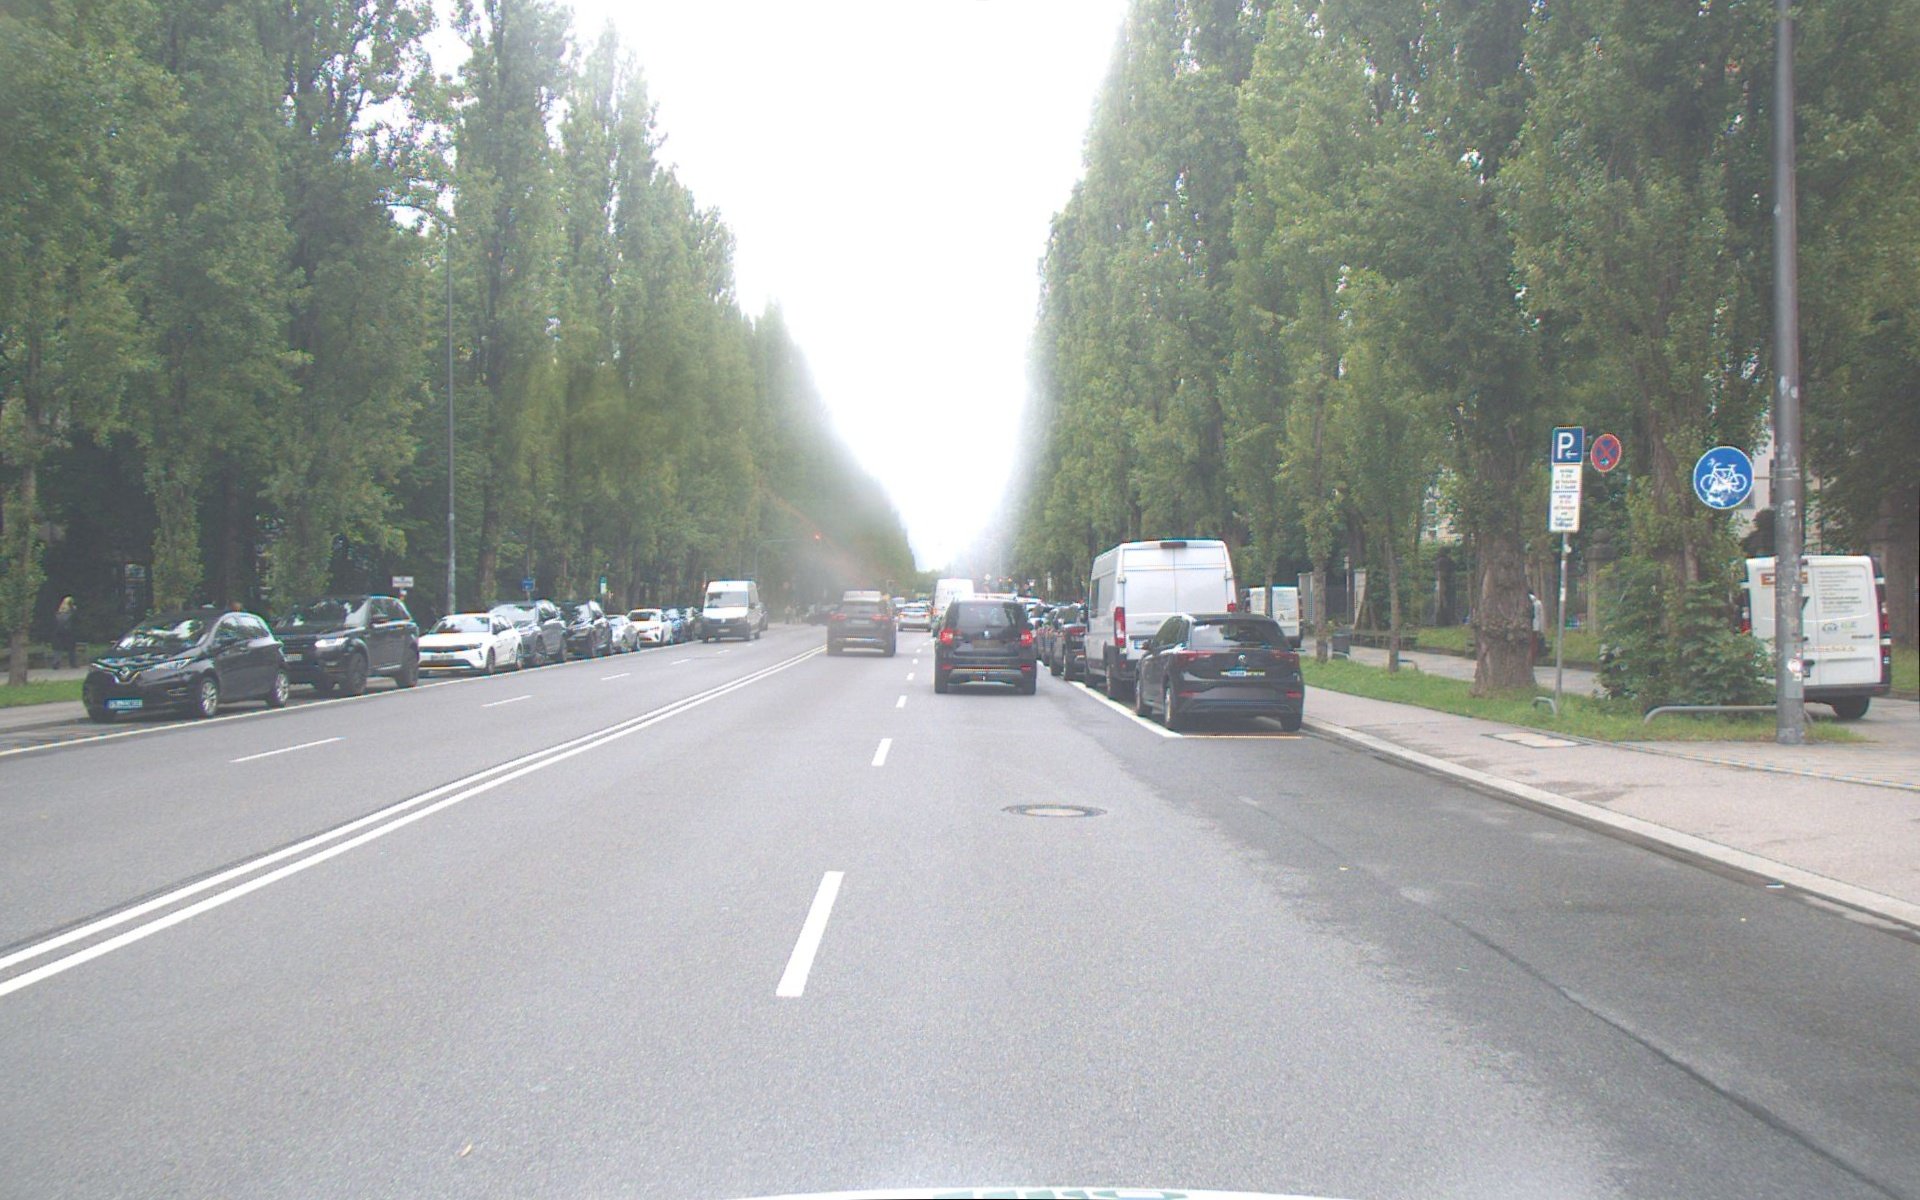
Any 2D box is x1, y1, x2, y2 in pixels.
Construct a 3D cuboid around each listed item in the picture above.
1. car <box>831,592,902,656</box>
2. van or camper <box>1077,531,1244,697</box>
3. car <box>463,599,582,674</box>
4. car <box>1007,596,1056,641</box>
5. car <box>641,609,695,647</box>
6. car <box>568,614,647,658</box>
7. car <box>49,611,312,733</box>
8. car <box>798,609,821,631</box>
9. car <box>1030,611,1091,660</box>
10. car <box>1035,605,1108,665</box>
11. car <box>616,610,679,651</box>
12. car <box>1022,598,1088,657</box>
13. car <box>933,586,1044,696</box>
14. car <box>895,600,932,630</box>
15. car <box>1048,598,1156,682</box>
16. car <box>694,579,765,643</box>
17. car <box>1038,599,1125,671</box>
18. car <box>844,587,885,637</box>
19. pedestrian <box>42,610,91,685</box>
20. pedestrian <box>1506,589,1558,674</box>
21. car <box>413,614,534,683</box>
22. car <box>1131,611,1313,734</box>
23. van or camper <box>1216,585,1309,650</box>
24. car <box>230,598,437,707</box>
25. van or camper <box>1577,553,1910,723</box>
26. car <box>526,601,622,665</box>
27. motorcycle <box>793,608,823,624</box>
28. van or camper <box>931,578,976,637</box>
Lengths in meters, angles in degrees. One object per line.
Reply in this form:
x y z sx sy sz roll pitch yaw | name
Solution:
-2.653 0.657 47.652 1.745 1.648 4.024 4 0 0 | car
3.363 0.227 29.038 2.095 2.585 6.416 0 0 0 | van or camper
-11.894 0.953 45.351 1.871 1.821 5.179 -3 0 -1 | car
3.129 0.789 72.837 1.814 1.914 4.166 0 0 -3 | car
-12.271 1.163 69.639 1.675 1.476 3.584 -3 0 -2 | car
-12.034 1.210 56.745 1.789 1.357 4.233 -3 0 -1 | car
-11.795 1.018 25.400 1.905 1.611 4.388 -2 0 0 | car
-12.990 1.696 142.695 1.654 1.814 3.774 0 0 0 | car
3.465 1.199 57.660 1.841 1.567 4.464 0 0 0 | car
3.025 0.930 45.623 1.668 1.546 4.294 0 0 -1 | car
-12.323 1.185 65.447 1.735 1.477 4.232 -3 0 -2 | car
2.859 0.797 50.553 1.707 1.705 4.579 0 0 -1 | car
0.467 0.690 29.651 1.818 1.801 4.000 2 0 0 | car
-2.485 0.780 88.514 1.953 1.588 3.999 0 0 -1 | car
2.973 0.797 35.481 1.749 1.677 4.415 0 0 -3 | car
-9.876 0.463 71.364 2.183 2.526 6.756 -2 0 -1 | car
2.931 0.797 40.593 1.747 1.646 4.637 0 0 -1 | car
-4.250 0.572 73.443 1.746 2.149 4.021 1 -1 -3 | car
-21.328 1.126 39.484 0.652 1.772 0.957 0 0 0 | pedestrian
12.199 0.662 35.281 0.779 1.799 0.895 0 0 0 | pedestrian
-11.697 1.119 40.045 1.669 1.484 4.272 -3 0 -1 | car
3.354 0.881 21.848 1.642 1.445 3.998 0 0 -2 | car
9.739 0.537 53.671 2.034 1.967 5.368 1 0 0 | van or camper
-11.728 0.921 31.343 2.004 1.817 4.799 -3 0 0 | car
10.094 0.441 21.831 1.935 1.967 5.037 1 0 -1 | van or camper
-11.874 0.988 51.220 1.902 1.798 4.894 -3 0 -2 | car
-12.311 1.268 133.848 2.315 1.292 0.930 0 0 0 | motorcycle
-0.331 0.315 75.463 1.935 2.593 4.023 0 0 -2 | van or camper
